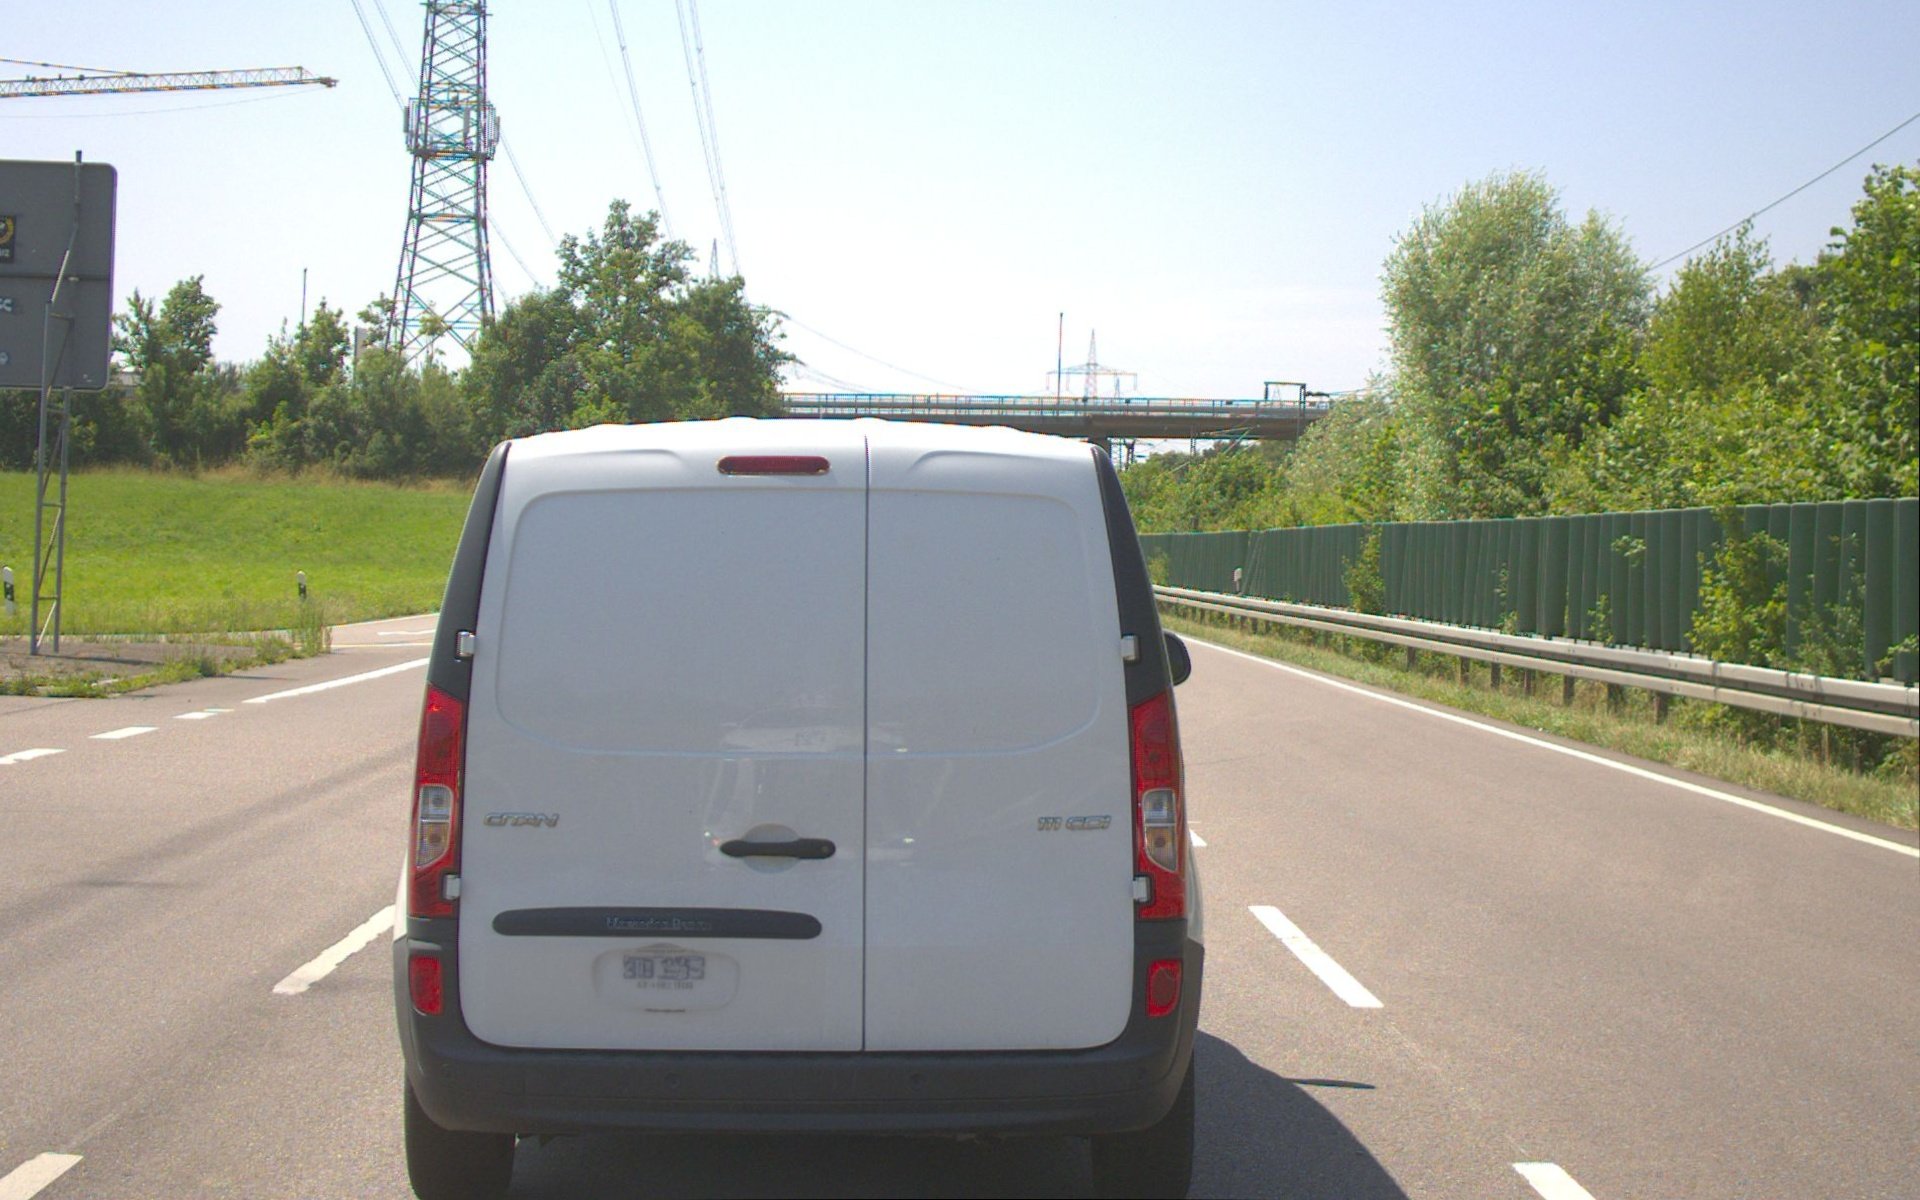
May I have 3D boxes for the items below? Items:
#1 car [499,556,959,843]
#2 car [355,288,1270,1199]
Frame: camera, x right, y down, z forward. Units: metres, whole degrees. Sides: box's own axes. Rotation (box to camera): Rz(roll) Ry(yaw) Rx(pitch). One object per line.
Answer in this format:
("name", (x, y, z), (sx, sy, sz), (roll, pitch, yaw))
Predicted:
("car", (-1.471, 0.487, 19.816), (1.855, 1.392, 4.655), (2, 1, -13))
("car", (-0.342, 0.330, 8.948), (1.827, 1.964, 4.000), (1, 1, -1))
